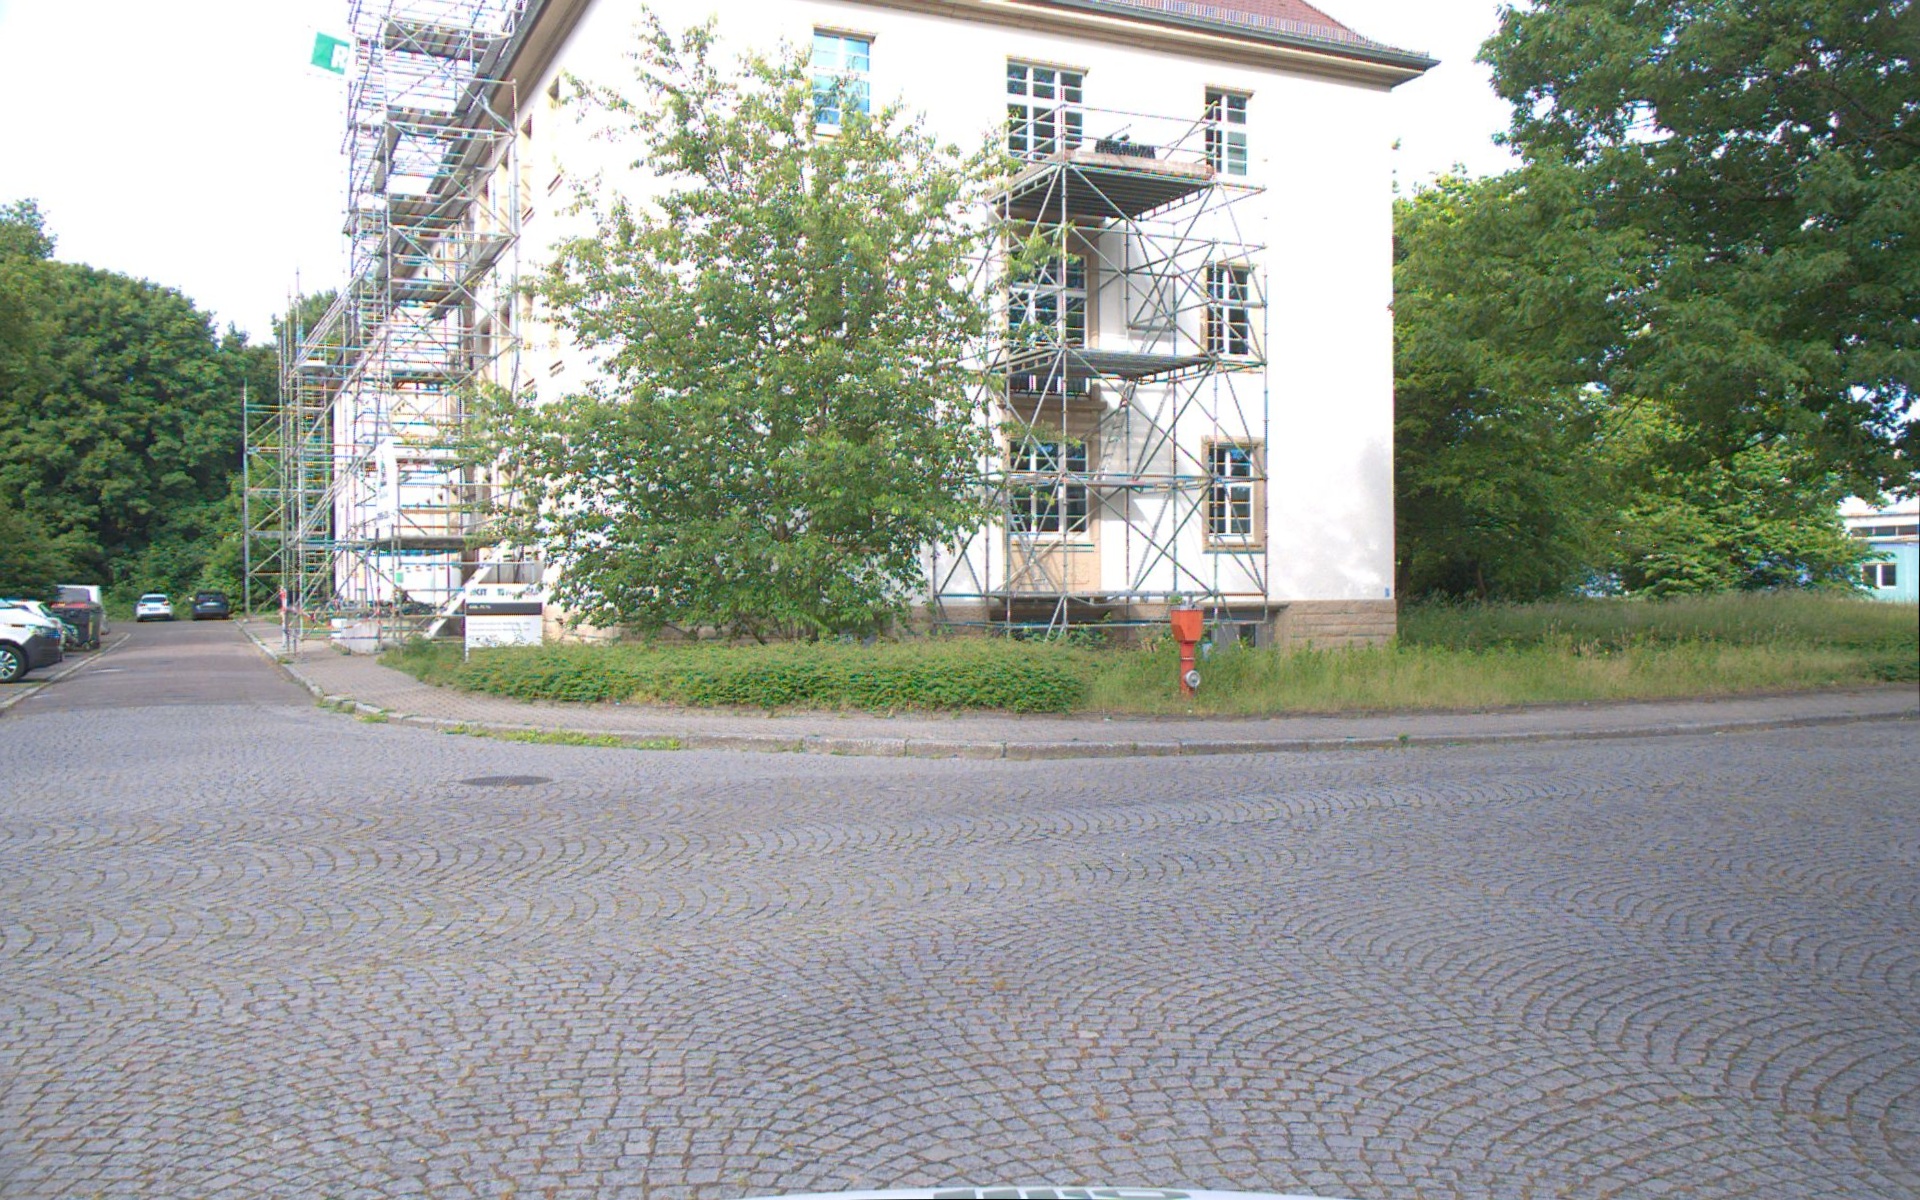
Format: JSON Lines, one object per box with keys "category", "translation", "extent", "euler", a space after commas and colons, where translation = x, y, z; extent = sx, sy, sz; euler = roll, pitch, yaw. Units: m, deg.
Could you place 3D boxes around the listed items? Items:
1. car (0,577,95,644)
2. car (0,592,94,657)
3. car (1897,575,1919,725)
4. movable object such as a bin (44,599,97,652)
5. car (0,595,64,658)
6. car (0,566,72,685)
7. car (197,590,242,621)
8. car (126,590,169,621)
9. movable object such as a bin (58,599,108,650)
{"category": "car", "translation": [-30.510, 0.340, 54.010], "extent": [3.943, 2.049, 1.903], "euler": [2, -2, -29]}
{"category": "car", "translation": [-24.683, 0.610, 42.904], "extent": [3.624, 1.620, 1.755], "euler": [2, -2, -19]}
{"category": "car", "translation": [11.753, 0.452, 16.569], "extent": [4.633, 1.462, 1.839], "euler": [-1, 0, -26]}
{"category": "movable object such as a bin", "translation": [-25.119, 0.725, 46.731], "extent": [1.168, 1.432, 0.968], "euler": [2, -2, -24]}
{"category": "car", "translation": [-24.409, 0.625, 40.909], "extent": [3.570, 1.507, 1.812], "euler": [2, -2, -17]}
{"category": "car", "translation": [-18.791, 0.434, 29.399], "extent": [5.137, 2.096, 2.170], "euler": [1, -1, -26]}
{"category": "car", "translation": [-41.018, 0.341, 91.682], "extent": [2.035, 1.621, 3.973], "euler": [2, -2, -22]}
{"category": "car", "translation": [-44.132, 0.320, 89.798], "extent": [1.978, 1.575, 3.922], "euler": [2, -2, -27]}
{"category": "movable object such as a bin", "translation": [-25.401, 0.717, 47.912], "extent": [1.168, 1.432, 0.968], "euler": [2, -2, -24]}
